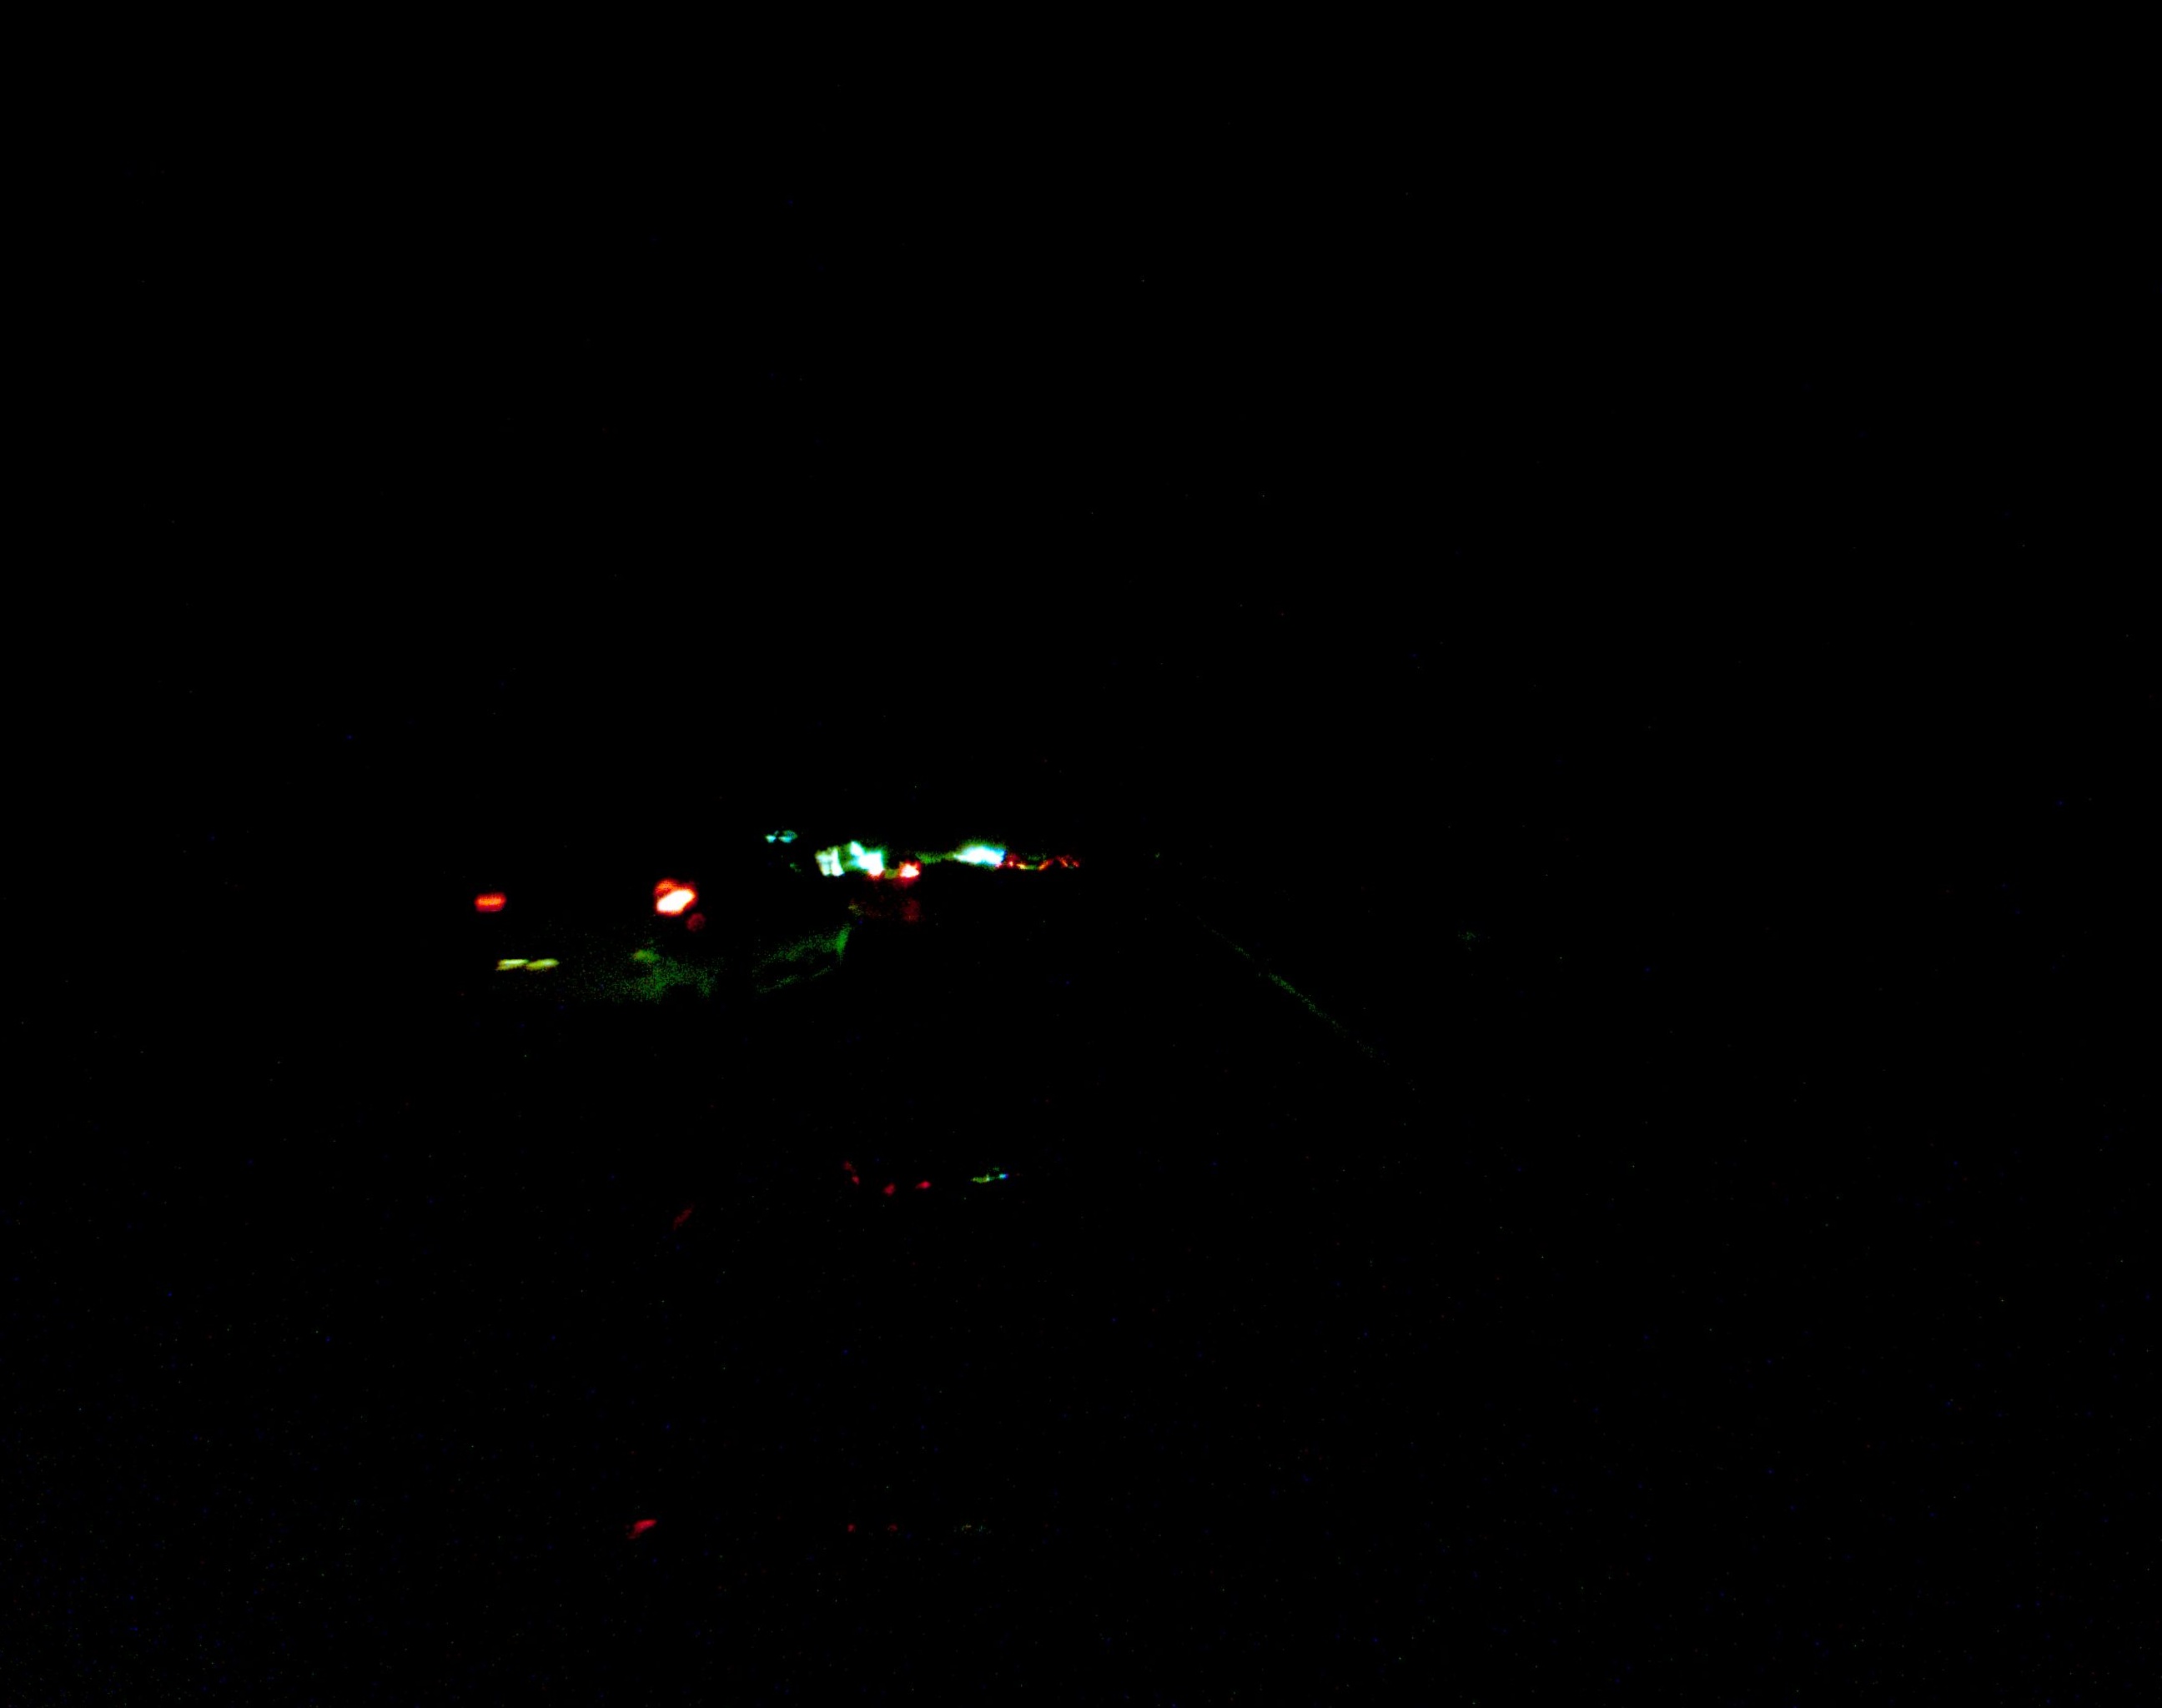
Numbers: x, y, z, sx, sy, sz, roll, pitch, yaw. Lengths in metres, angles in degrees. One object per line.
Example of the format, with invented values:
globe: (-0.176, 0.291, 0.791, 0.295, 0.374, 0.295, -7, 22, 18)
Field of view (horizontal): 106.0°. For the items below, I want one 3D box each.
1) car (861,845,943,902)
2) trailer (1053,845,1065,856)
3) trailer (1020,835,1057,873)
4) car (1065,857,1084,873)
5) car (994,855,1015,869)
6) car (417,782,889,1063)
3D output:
car: (-7.011, 0.739, 32.434, 1.986, 2.014, 4.570, 3, 0, 2)
trailer: (-5.726, -0.840, 211.583, 2.681, 2.699, 12.845, 3, 0, -2)
trailer: (-4.511, 0.075, 89.528, 2.581, 3.725, 13.660, 3, 0, 3)
car: (-0.767, 1.351, 100.977, 1.985, 1.818, 4.004, 3, 0, 4)
car: (-9.050, 0.938, 96.912, 1.987, 1.618, 3.999, 3, 0, 0)
car: (-3.733, 0.530, 8.459, 1.985, 2.014, 5.021, -1, -1, 3)
